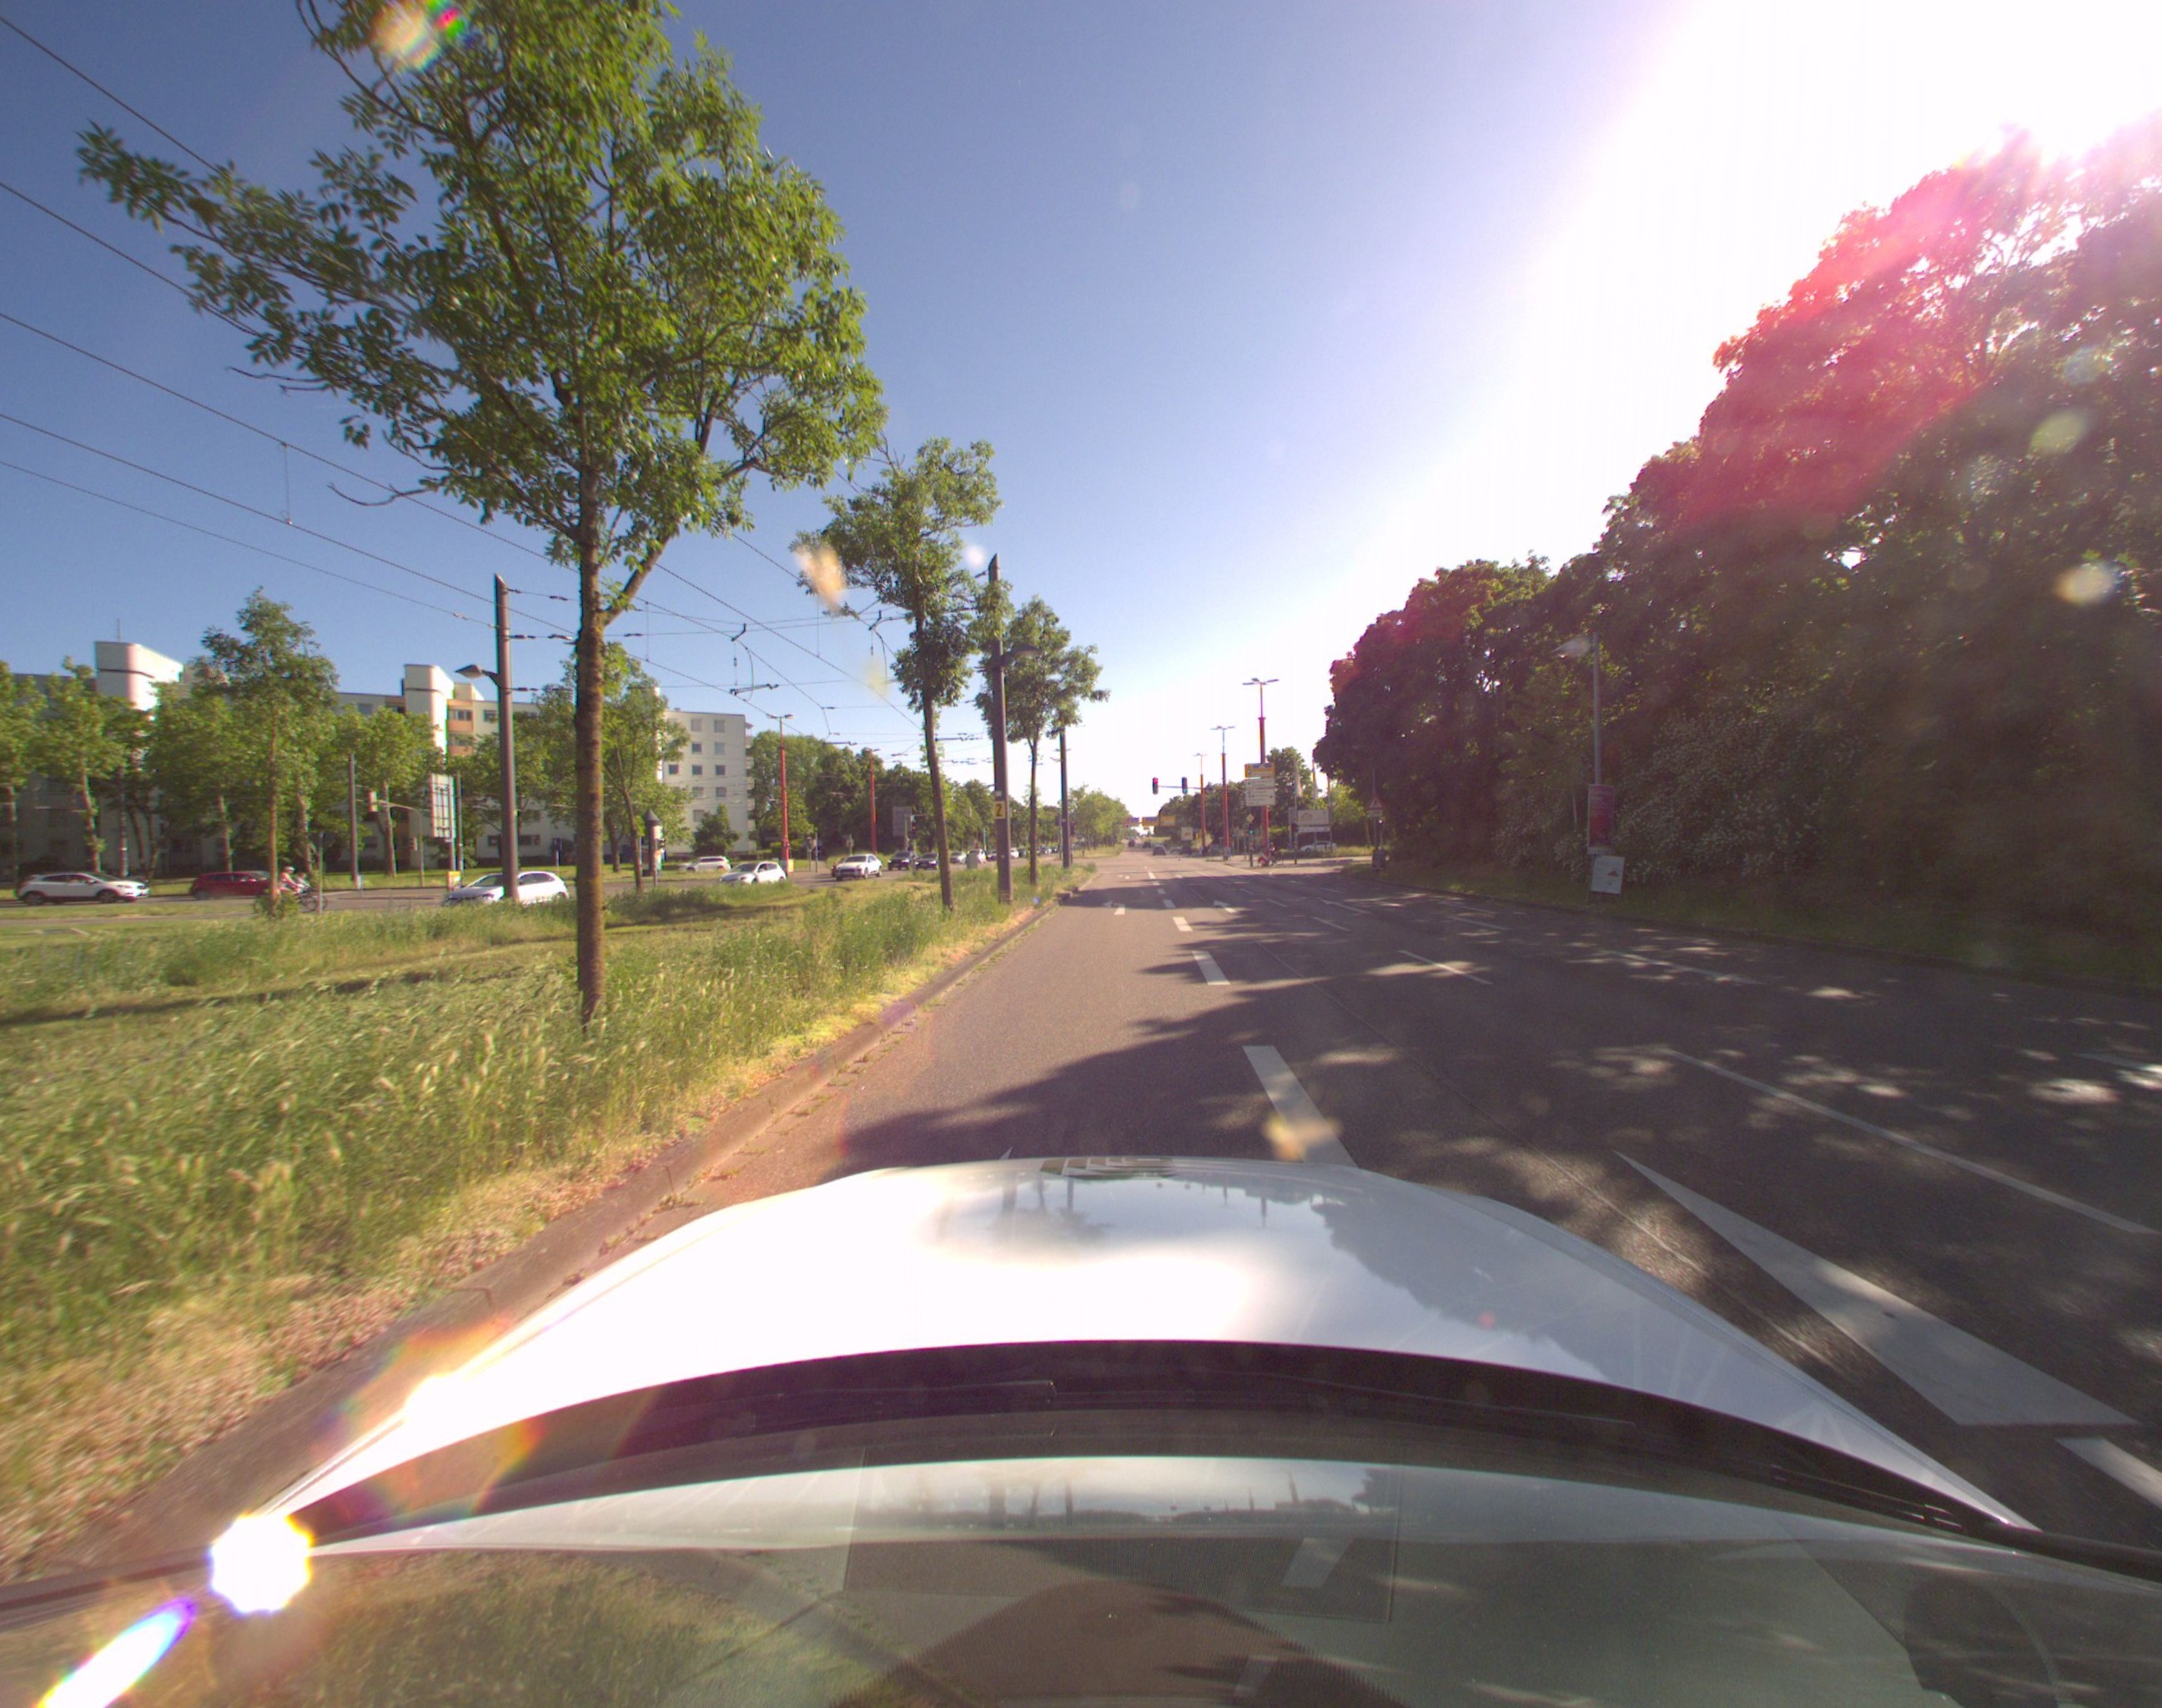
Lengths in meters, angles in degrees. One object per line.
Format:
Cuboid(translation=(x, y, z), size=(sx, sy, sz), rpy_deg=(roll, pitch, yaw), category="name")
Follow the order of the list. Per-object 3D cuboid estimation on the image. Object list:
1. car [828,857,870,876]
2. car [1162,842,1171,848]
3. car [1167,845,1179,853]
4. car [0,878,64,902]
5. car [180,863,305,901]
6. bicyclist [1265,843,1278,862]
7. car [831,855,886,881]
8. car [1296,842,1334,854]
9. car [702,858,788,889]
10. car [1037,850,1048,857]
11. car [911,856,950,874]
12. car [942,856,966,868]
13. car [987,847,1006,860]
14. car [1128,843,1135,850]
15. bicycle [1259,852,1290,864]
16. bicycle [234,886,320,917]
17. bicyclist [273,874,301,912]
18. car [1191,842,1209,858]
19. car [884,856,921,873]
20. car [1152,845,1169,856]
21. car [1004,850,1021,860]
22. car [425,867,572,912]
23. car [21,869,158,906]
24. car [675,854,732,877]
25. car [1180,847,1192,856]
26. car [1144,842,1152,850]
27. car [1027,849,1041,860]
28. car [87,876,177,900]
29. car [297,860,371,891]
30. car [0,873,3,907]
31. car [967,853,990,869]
Cuboid(translation=(-17.043, 0.919, 59.990), size=(1.650, 1.297, 4.180), rpy_deg=(0, 0, 3), category="car")
Cuboid(translation=(20.441, -2.135, 194.337), size=(1.985, 1.540, 4.004), rpy_deg=(-1, 0, 4), category="car")
Cuboid(translation=(16.633, -0.919, 147.272), size=(1.985, 1.540, 4.004), rpy_deg=(0, 0, 4), category="car")
Cuboid(translation=(-77.025, 2.588, 58.833), size=(1.875, 1.596, 4.018), rpy_deg=(0, 0, 17), category="car")
Cuboid(translation=(-45.244, 1.491, 44.090), size=(4.285, 1.901, 1.982), rpy_deg=(0, 0, -28), category="car")
Cuboid(translation=(13.759, -0.093, 58.819), size=(0.739, 1.341, 0.706), rpy_deg=(0, 0, -7), category="bicyclist")
Cuboid(translation=(-14.462, 0.891, 53.219), size=(1.885, 1.621, 4.665), rpy_deg=(0, 0, 6), category="car")
Cuboid(translation=(28.868, -0.775, 100.495), size=(4.348, 1.371, 2.068), rpy_deg=(-1, 0, 12), category="car")
Cuboid(translation=(-16.592, 0.914, 40.478), size=(1.888, 1.398, 4.554), rpy_deg=(0, 0, 8), category="car")
Cuboid(translation=(-7.453, -0.137, 157.661), size=(1.542, 1.377, 4.266), rpy_deg=(-1, 0, 3), category="car")
Cuboid(translation=(-12.961, 0.931, 70.444), size=(1.984, 1.409, 4.997), rpy_deg=(0, 0, 5), category="car")
Cuboid(translation=(-15.148, 0.937, 97.369), size=(1.985, 1.374, 4.405), rpy_deg=(0, 0, 4), category="car")
Cuboid(translation=(-10.807, -0.051, 104.344), size=(1.581, 1.472, 4.188), rpy_deg=(-3, 1, 5), category="car")
Cuboid(translation=(14.345, -2.075, 230.560), size=(1.986, 2.013, 4.001), rpy_deg=(0, 0, 1), category="car")
Cuboid(translation=(14.000, 0.294, 58.892), size=(2.160, 0.878, 0.558), rpy_deg=(0, 0, -8), category="bicycle")
Cuboid(translation=(-31.527, 1.856, 31.989), size=(2.373, 1.081, 0.468), rpy_deg=(-1, 0, -42), category="bicycle")
Cuboid(translation=(-31.329, 1.531, 32.154), size=(0.761, 1.430, 0.743), rpy_deg=(0, 0, -43), category="bicyclist")
Cuboid(translation=(14.552, -0.458, 99.649), size=(1.981, 1.887, 4.012), rpy_deg=(-1, 0, 10), category="car")
Cuboid(translation=(-16.076, 0.898, 73.621), size=(1.984, 1.481, 4.637), rpy_deg=(0, 0, 4), category="car")
Cuboid(translation=(11.304, -0.520, 115.895), size=(1.987, 1.496, 3.999), rpy_deg=(-1, 0, -1), category="car")
Cuboid(translation=(-9.753, 0.127, 115.658), size=(1.696, 1.423, 4.647), rpy_deg=(-2, 0, 3), category="car")
Cuboid(translation=(-19.188, 1.115, 27.052), size=(1.789, 1.293, 4.005), rpy_deg=(0, 0, 4), category="car")
Cuboid(translation=(-50.899, 1.682, 41.930), size=(4.009, 1.750, 1.896), rpy_deg=(0, 0, -28), category="car")
Cuboid(translation=(-35.311, 1.068, 76.301), size=(4.432, 2.013, 1.976), rpy_deg=(-2, 1, -42), category="car")
Cuboid(translation=(16.090, -0.354, 124.829), size=(1.730, 1.341, 3.084), rpy_deg=(-1, 0, 4), category="car")
Cuboid(translation=(17.430, -1.999, 212.138), size=(2.145, 2.013, 4.004), rpy_deg=(-1, 0, 3), category="car")
Cuboid(translation=(-7.919, 0.042, 136.684), size=(1.793, 1.707, 4.064), rpy_deg=(-2, 0, 4), category="car")
Cuboid(translation=(-71.439, 2.537, 61.388), size=(1.875, 1.596, 4.018), rpy_deg=(0, 0, 17), category="car")
Cuboid(translation=(-60.319, 1.696, 65.825), size=(1.875, 2.310, 4.018), rpy_deg=(0, 0, 17), category="car")
Cuboid(translation=(-58.259, 1.916, 41.208), size=(4.009, 1.750, 1.896), rpy_deg=(0, 0, -28), category="car")
Cuboid(translation=(-11.316, 0.753, 90.114), size=(1.755, 1.608, 3.762), rpy_deg=(-2, 0, 4), category="car")
